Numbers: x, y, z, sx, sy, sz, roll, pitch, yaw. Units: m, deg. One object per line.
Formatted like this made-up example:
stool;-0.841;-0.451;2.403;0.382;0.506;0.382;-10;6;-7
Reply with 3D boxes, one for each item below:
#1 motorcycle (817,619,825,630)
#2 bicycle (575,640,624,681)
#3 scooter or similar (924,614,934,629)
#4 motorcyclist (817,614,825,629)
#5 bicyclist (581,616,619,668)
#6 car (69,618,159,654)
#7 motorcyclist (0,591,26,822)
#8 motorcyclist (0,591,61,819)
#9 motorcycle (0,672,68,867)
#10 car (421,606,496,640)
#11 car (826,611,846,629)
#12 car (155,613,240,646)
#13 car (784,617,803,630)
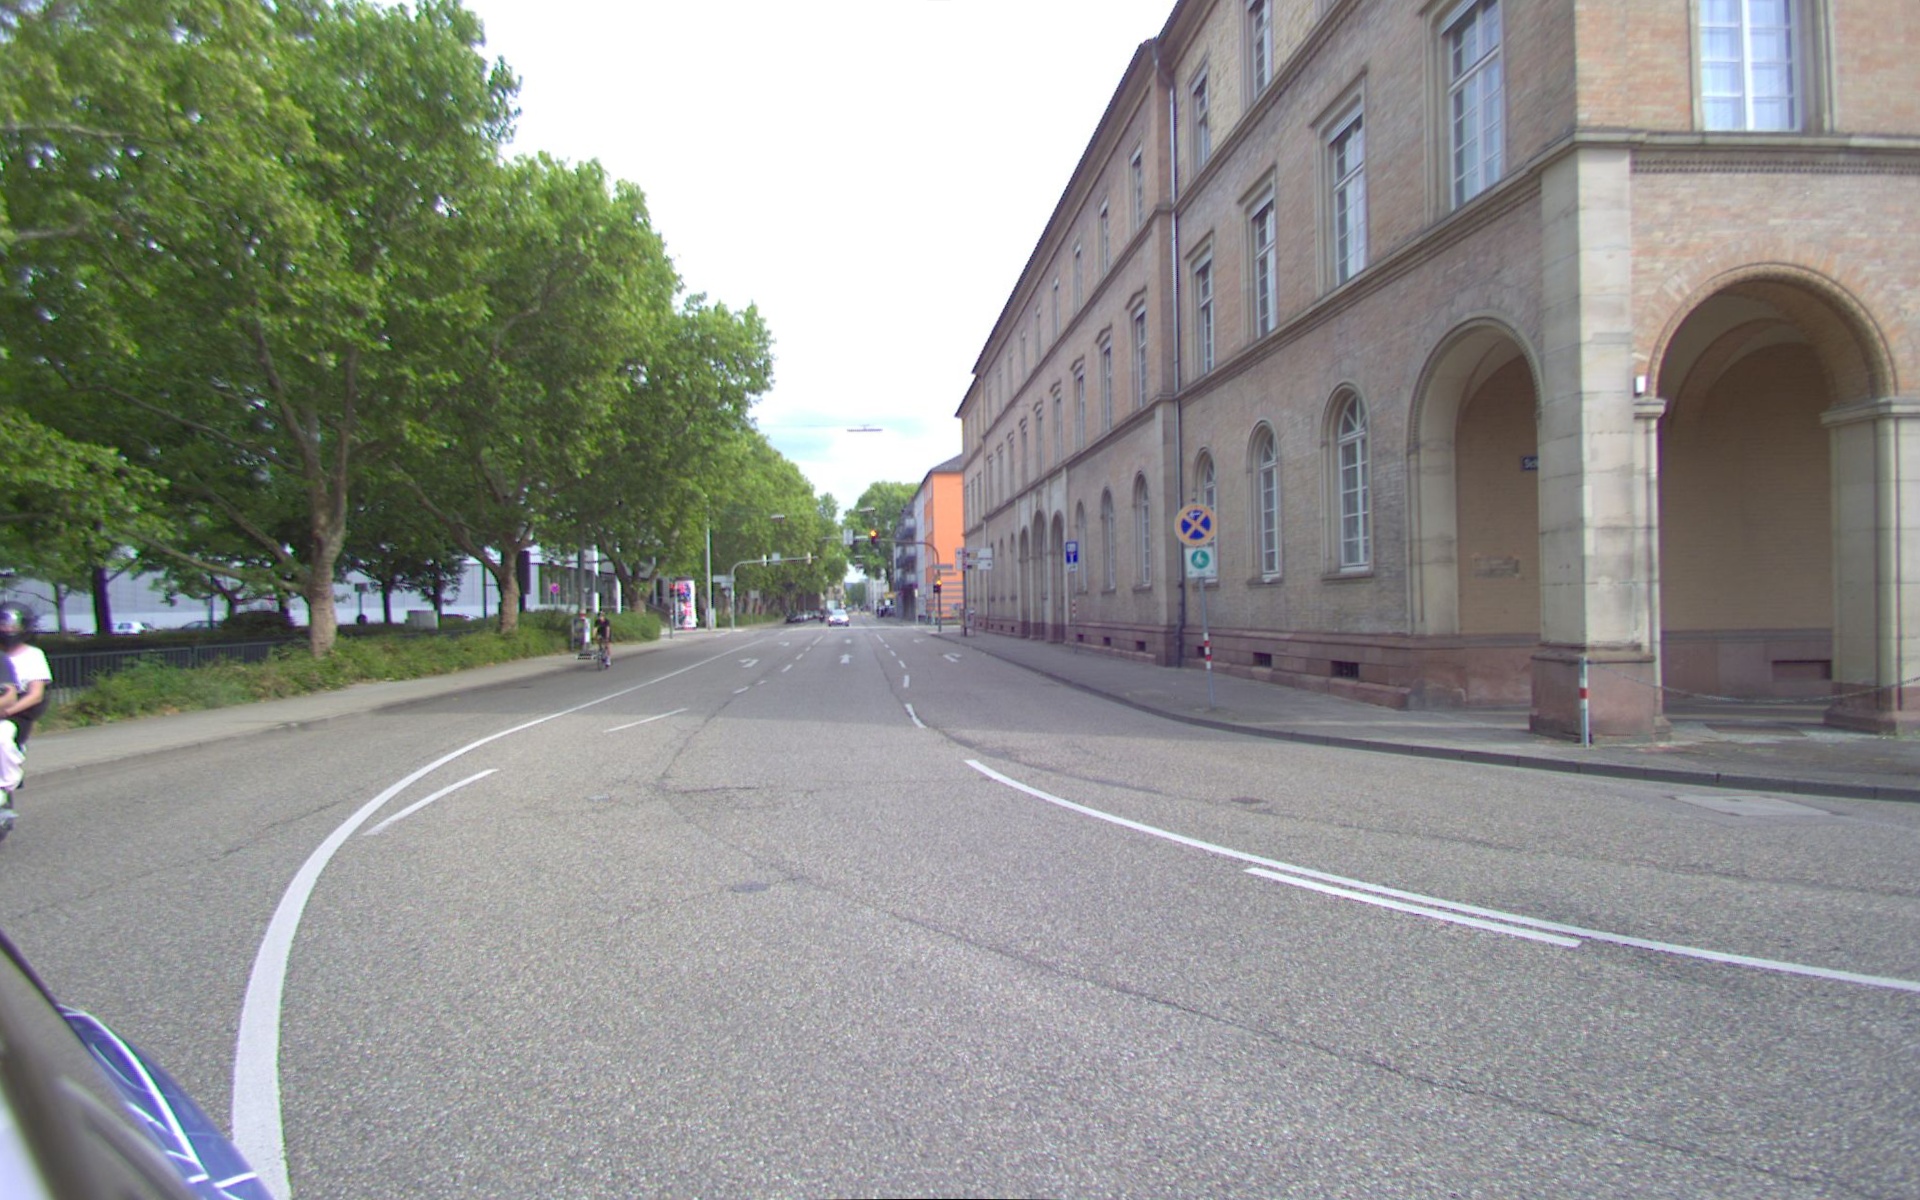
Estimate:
motorcycle;-15.306;2.734;111.258;0.769;1.187;1.996;-3;-2;-9
bicycle;-10.442;1.737;29.426;0.759;1.023;2.411;-3;-1;-6
scooter or similar;-2.418;1.722;79.837;0.324;1.166;1.358;-3;-1;-19
motorcyclist;-15.321;2.363;111.248;0.769;1.673;1.115;-3;-2;-9
bicyclist;-10.463;1.210;29.420;0.773;1.458;0.915;-3;-1;-5
car;-54.538;2.308;65.326;3.933;2.029;2.005;-3;-1;-15
motorcyclist;-6.314;0.663;6.093;0.768;1.438;0.766;0;-2;-21
motorcyclist;-6.524;0.676;6.609;0.768;1.438;0.691;0;-2;-21
motorcycle;-6.291;1.065;6.056;0.768;1.187;1.999;0;-2;-21
car;-32.822;1.505;66.310;3.935;2.029;2.004;-3;-1;-11
car;-10.399;1.682;84.821;1.648;1.449;3.826;-1;-1;-7
car;-49.922;1.917;66.355;3.933;1.874;2.005;-3;-1;-15
car;-21.003;2.933;127.593;1.970;1.553;4.275;-3;-1;-4
